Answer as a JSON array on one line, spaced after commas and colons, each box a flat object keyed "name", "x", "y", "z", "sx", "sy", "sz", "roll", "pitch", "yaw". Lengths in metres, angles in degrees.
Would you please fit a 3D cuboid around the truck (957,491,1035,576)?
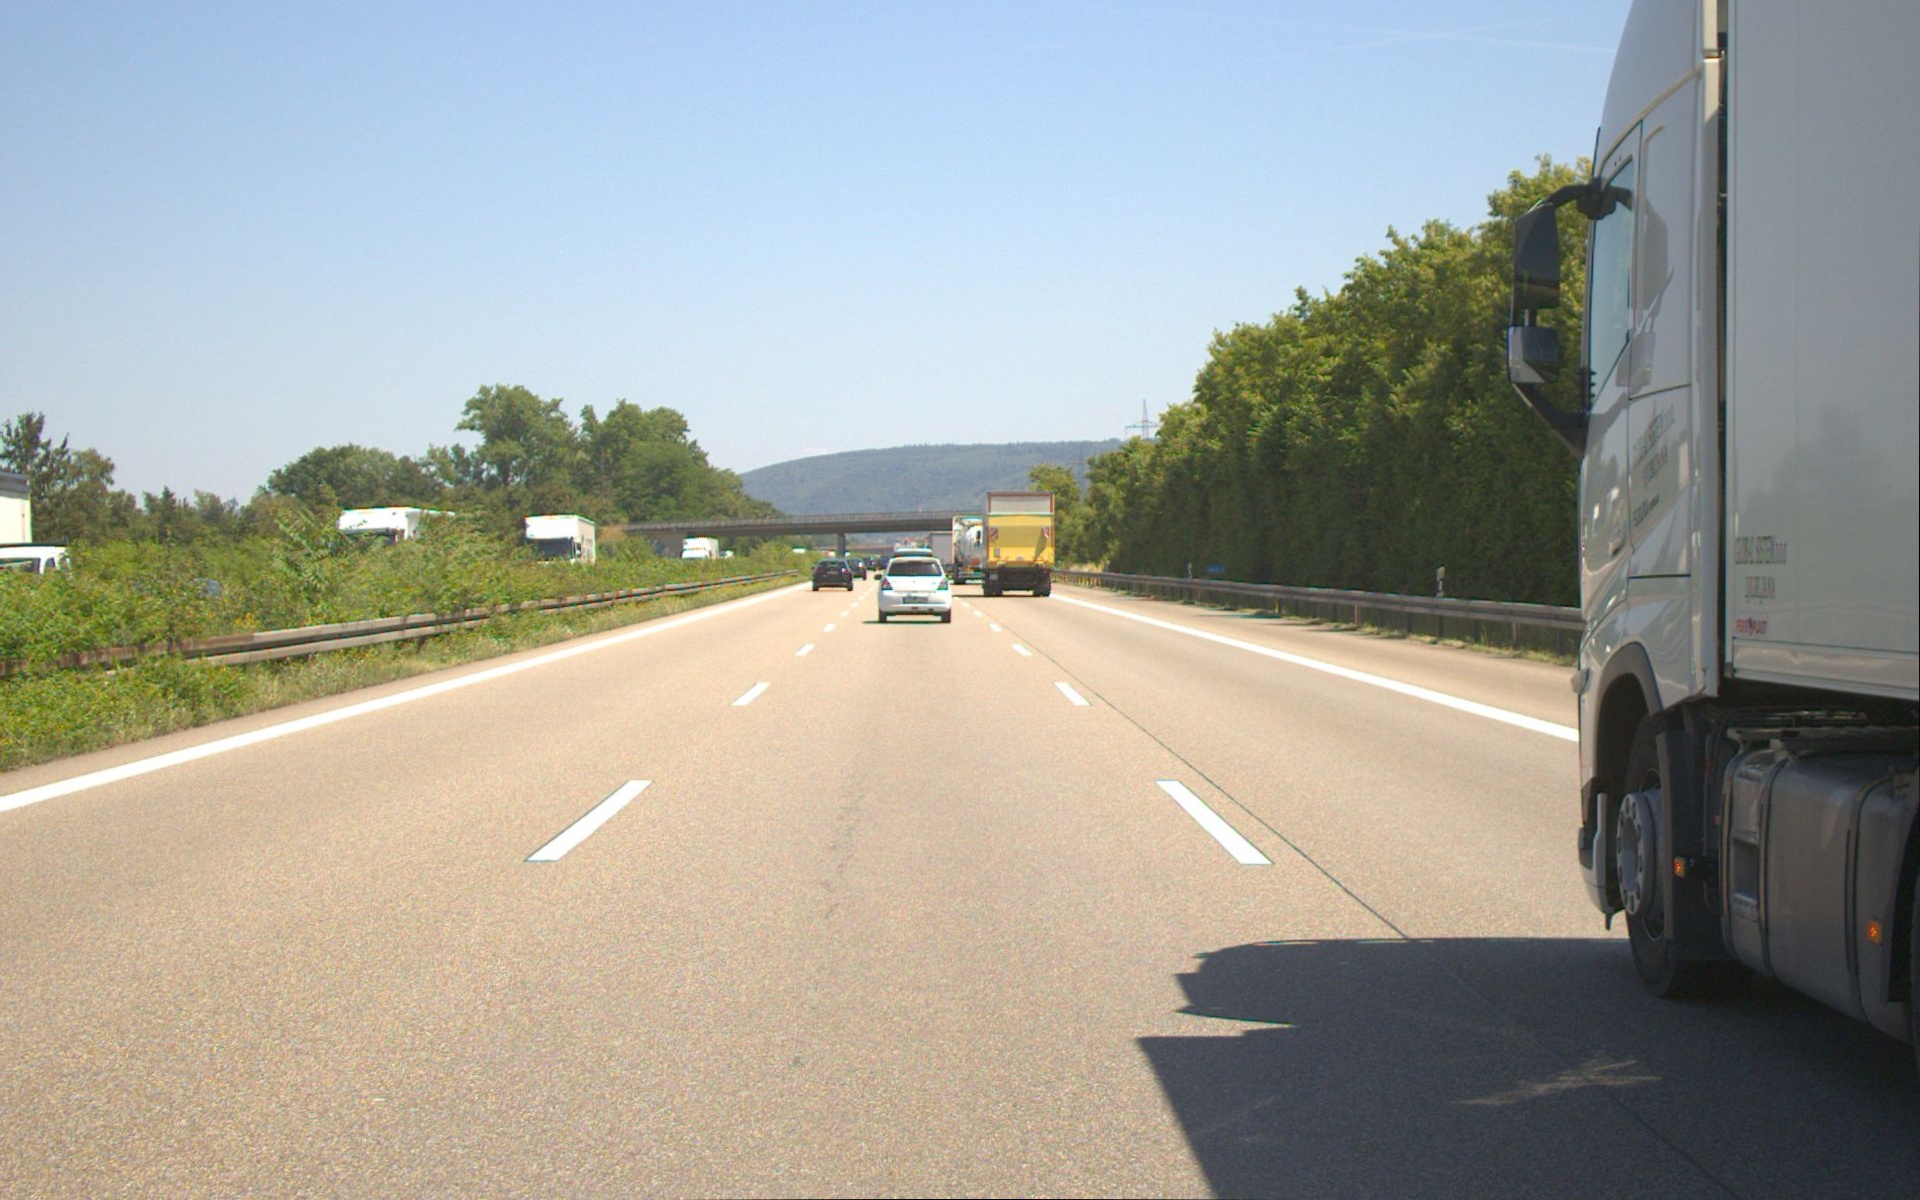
[{"name": "truck", "x": 1.970, "y": -3.746, "z": 195.741, "sx": 4.271, "sy": 4.636, "sz": 13.861, "roll": 0, "pitch": 1, "yaw": 0}]

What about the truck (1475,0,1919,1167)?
[{"name": "truck", "x": 3.734, "y": -0.933, "z": 10.279, "sx": 3.218, "sy": 4.330, "sz": 6.591, "roll": 1, "pitch": 1, "yaw": -1}]

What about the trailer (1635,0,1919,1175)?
[{"name": "trailer", "x": 3.858, "y": -0.774, "z": 3.817, "sx": 3.218, "sy": 4.330, "sz": 13.630, "roll": 1, "pitch": 1, "yaw": -1}]

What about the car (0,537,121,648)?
[{"name": "car", "x": -17.061, "y": -0.159, "z": 64.138, "sx": 1.839, "sy": 2.007, "sz": 4.000, "roll": 0, "pitch": 1, "yaw": 0}]

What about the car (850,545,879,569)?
[{"name": "car", "x": -6.431, "y": -2.899, "z": 231.625, "sx": 1.795, "sy": 1.545, "sz": 4.000, "roll": 0, "pitch": 1, "yaw": 0}]

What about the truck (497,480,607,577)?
[{"name": "truck", "x": -20.421, "y": -3.627, "z": 173.169, "sx": 3.871, "sy": 4.648, "sz": 13.861, "roll": 1, "pitch": 1, "yaw": 0}]

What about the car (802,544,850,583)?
[{"name": "car", "x": -5.986, "y": -1.631, "z": 154.103, "sx": 1.993, "sy": 1.706, "sz": 4.000, "roll": 1, "pitch": 1, "yaw": -1}]

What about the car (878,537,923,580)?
[{"name": "car", "x": -2.455, "y": -1.710, "z": 141.738, "sx": 1.786, "sy": 1.706, "sz": 4.000, "roll": 1, "pitch": 1, "yaw": -1}]

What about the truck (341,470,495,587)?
[{"name": "truck", "x": -21.261, "y": -2.833, "z": 135.838, "sx": 3.871, "sy": 4.330, "sz": 13.861, "roll": 1, "pitch": 1, "yaw": 0}]

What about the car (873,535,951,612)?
[{"name": "car", "x": -1.123, "y": -0.647, "z": 79.749, "sx": 1.732, "sy": 1.678, "sz": 4.000, "roll": -1, "pitch": 1, "yaw": -1}]

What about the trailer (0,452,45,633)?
[{"name": "trailer", "x": -21.677, "y": -1.130, "z": 68.687, "sx": 3.134, "sy": 3.819, "sz": 14.300, "roll": -1, "pitch": 1, "yaw": -1}]

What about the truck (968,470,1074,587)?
[{"name": "truck", "x": 2.290, "y": -2.832, "z": 135.722, "sx": 3.871, "sy": 4.330, "sz": 13.861, "roll": 1, "pitch": 1, "yaw": 0}]
